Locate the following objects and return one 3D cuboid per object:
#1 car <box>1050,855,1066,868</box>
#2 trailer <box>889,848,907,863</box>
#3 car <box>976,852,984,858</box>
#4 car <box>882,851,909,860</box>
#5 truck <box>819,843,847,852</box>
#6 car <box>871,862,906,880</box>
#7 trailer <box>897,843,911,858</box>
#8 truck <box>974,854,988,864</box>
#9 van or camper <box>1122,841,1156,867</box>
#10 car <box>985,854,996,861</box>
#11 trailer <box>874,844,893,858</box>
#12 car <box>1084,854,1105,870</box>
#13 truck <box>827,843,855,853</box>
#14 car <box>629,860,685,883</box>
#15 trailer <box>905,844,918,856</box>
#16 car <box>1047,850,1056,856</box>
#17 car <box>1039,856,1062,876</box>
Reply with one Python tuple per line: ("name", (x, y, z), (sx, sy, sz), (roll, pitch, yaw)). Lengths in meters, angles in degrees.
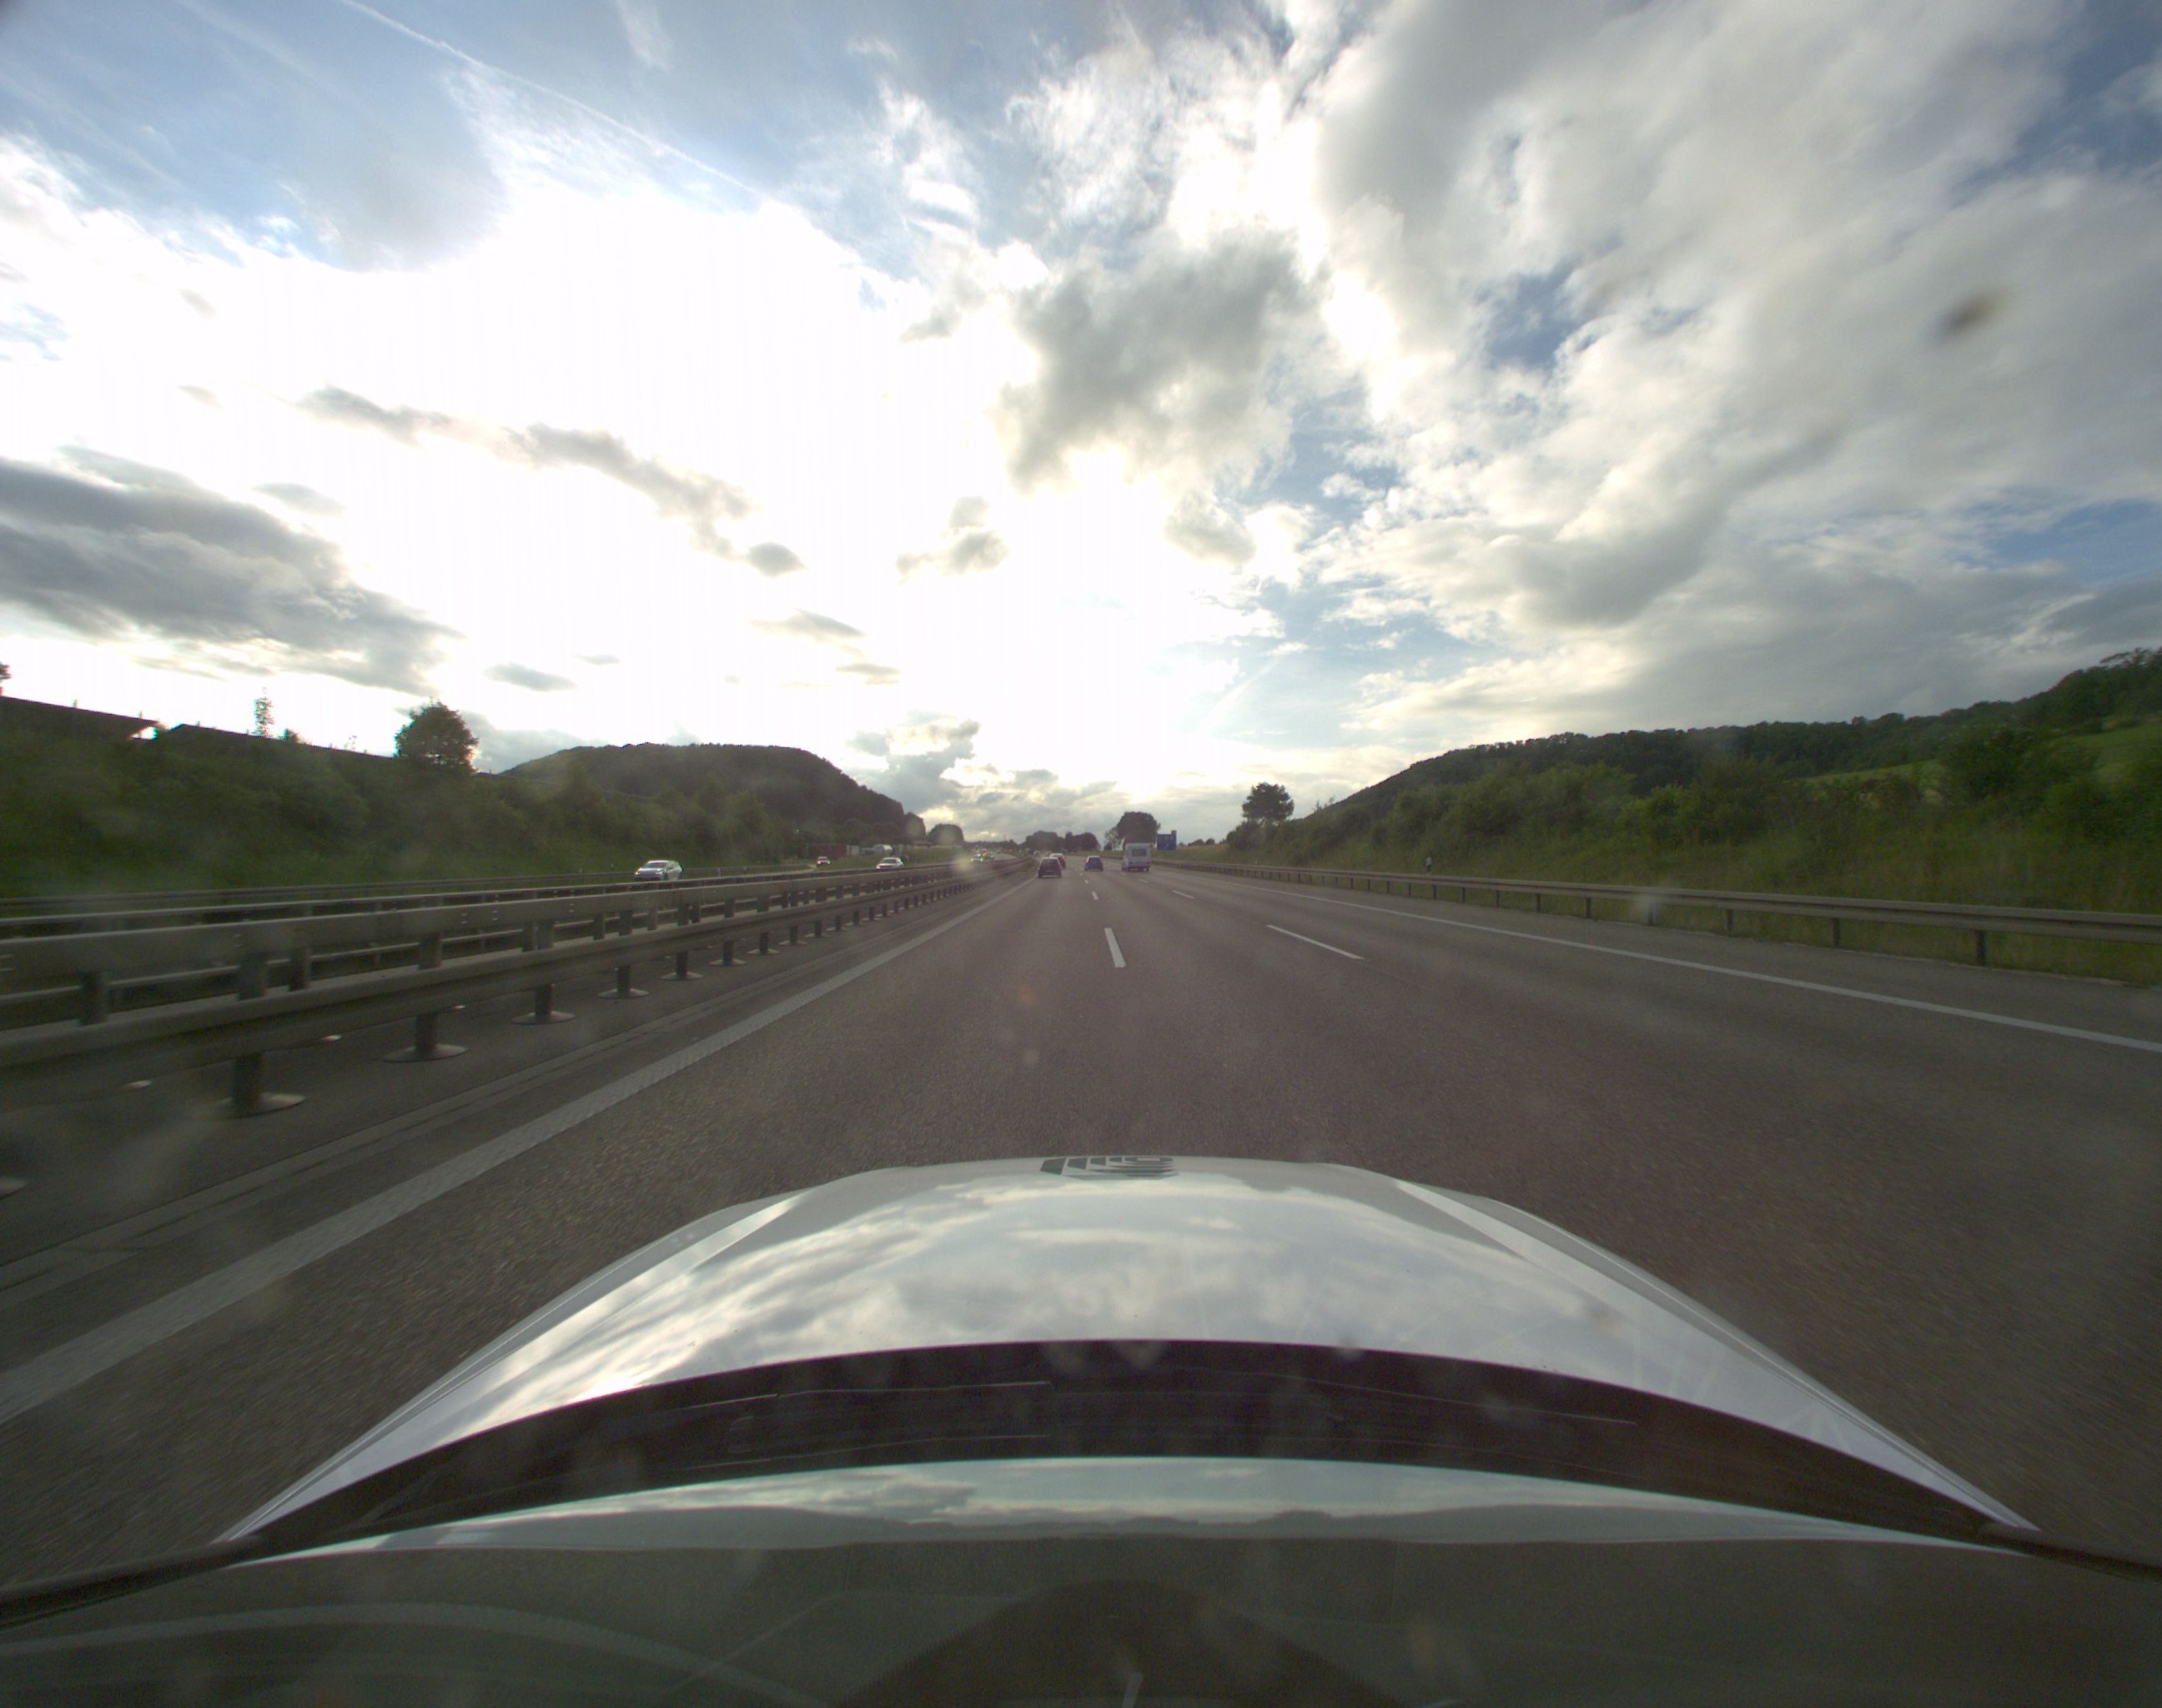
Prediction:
("car", (-2.665, 0.799, 92.026), (1.562, 1.380, 3.993), (-2, 0, -5))
("trailer", (-46.484, 0.356, 206.884), (2.874, 3.696, 13.644), (-2, 0, -7))
("car", (-27.111, 0.313, 218.638), (1.991, 1.497, 4.681), (-2, 0, -6))
("car", (-31.969, 0.241, 140.343), (4.611, 1.551, 1.991), (-1, 0, -14))
("truck", (-59.991, -1.602, 196.907), (7.213, 2.013, 2.919), (-2, 0, 37))
("car", (-17.344, 1.560, 73.654), (1.985, 1.486, 4.002), (-2, -2, 3))
("trailer", (-49.702, -0.947, 229.092), (2.876, 3.696, 13.633), (-2, 0, -9))
("truck", (-15.802, 0.779, 128.838), (1.989, 1.365, 4.640), (-1, 0, -3))
("van or camper", (5.303, 0.065, 74.727), (2.541, 2.239, 5.324), (-1, -1, -2))
("car", (-19.566, 0.704, 176.087), (1.989, 1.497, 4.687), (-2, 0, -3))
("trailer", (-44.166, -0.542, 182.691), (2.575, 2.853, 12.236), (0, -1, -6))
("car", (1.282, 0.769, 80.364), (1.763, 1.433, 3.996), (-2, 0, -3))
("truck", (-59.717, -1.497, 202.582), (7.214, 2.226, 2.919), (0, 1, 38))
("car", (-27.358, 1.070, 52.739), (1.757, 1.358, 4.372), (-2, 0, -7))
("trailer", (-52.136, -1.224, 250.095), (2.874, 3.696, 10.350), (-2, 0, -6))
("car", (-8.235, -0.360, 225.676), (1.948, 1.574, 4.004), (-1, -1, 4))
("car", (-2.192, 0.852, 59.132), (1.533, 1.348, 3.676), (-1, -1, 0))
